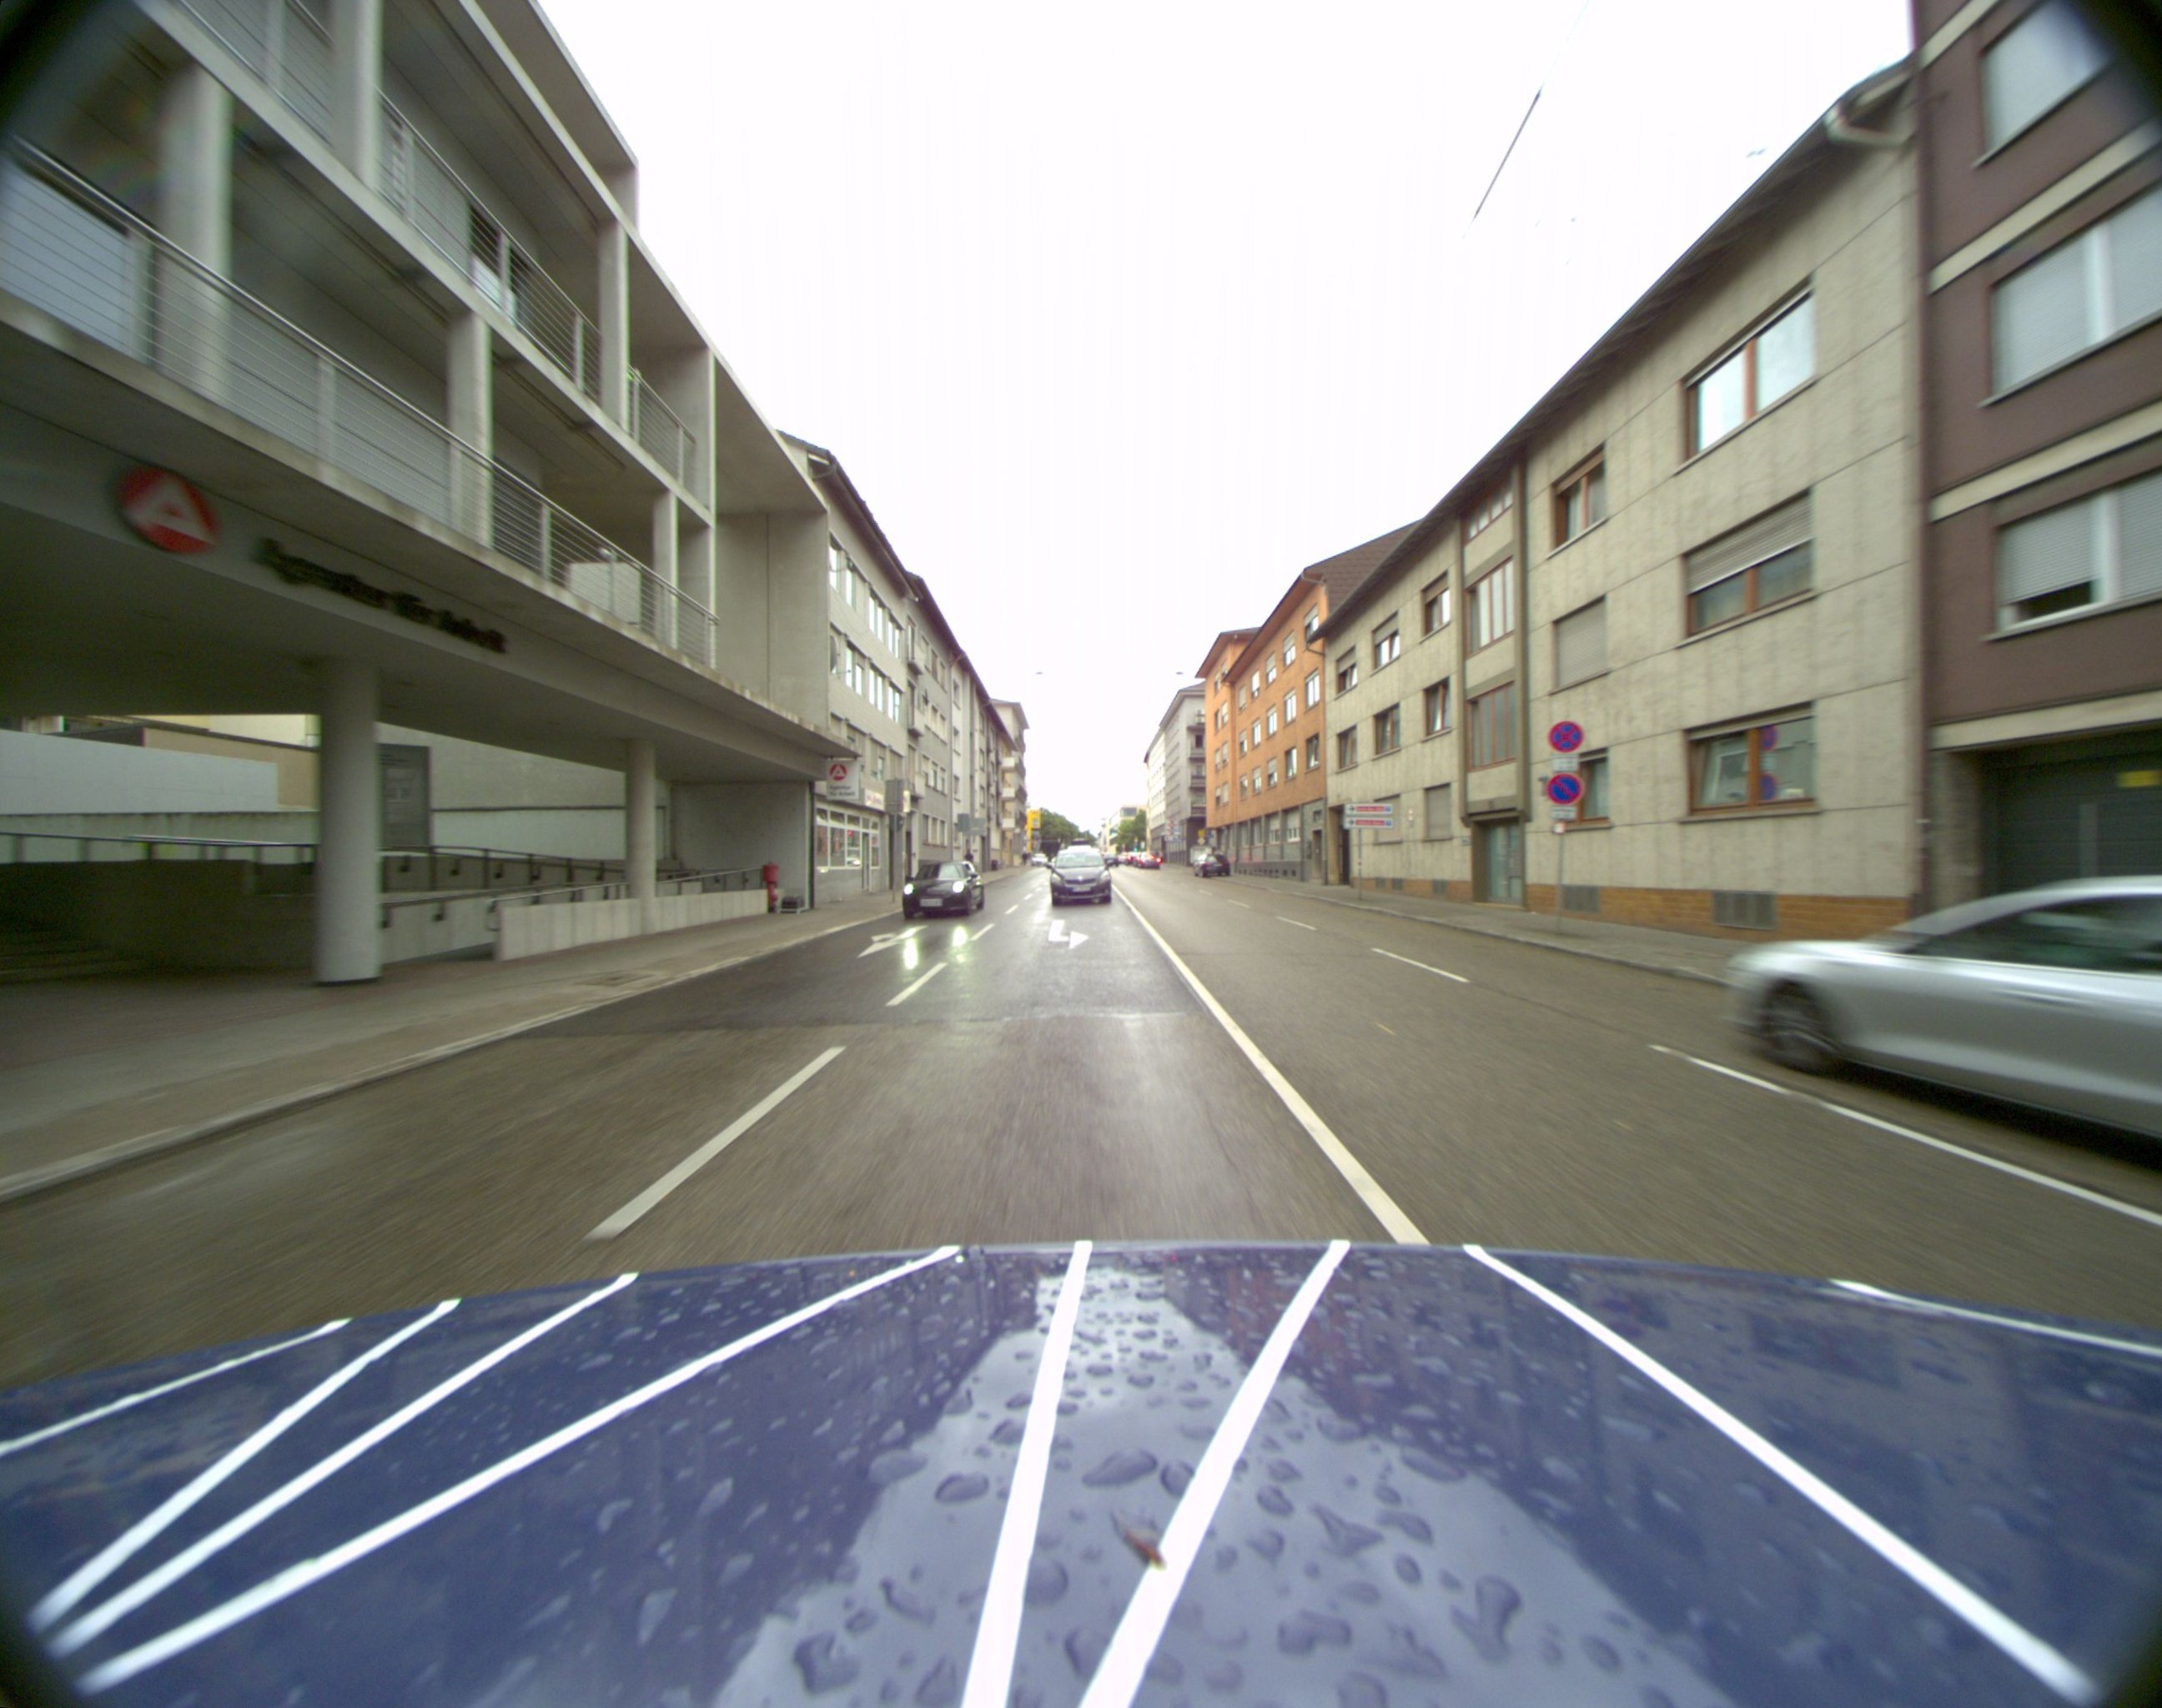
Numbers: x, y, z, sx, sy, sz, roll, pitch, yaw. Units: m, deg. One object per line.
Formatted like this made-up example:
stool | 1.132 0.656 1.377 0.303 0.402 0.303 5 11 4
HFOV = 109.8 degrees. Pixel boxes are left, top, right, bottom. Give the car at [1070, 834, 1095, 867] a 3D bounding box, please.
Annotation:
car | 0.128 -0.364 68.789 2.033 2.732 4.368 -3 1 1

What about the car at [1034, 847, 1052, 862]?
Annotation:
car | -4.575 0.046 91.052 1.856 1.663 4.215 -4 1 -4

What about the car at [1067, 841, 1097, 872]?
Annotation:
car | 0.073 0.117 51.749 1.856 1.882 4.217 -3 1 1

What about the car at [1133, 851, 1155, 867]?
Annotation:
car | 6.270 0.497 76.177 1.727 1.464 4.373 1 0 -1

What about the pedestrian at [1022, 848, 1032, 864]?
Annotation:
pedestrian | -6.113 0.214 85.357 1.119 1.741 0.961 -1 1 -5

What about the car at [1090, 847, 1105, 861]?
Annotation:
car | 2.011 0.017 93.590 1.699 1.572 4.216 1 2 0

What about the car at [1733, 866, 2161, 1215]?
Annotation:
car | 5.883 0.907 3.602 1.777 1.531 4.357 1 1 0

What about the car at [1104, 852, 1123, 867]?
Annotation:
car | 3.285 0.525 78.009 1.603 1.362 4.361 2 1 -1

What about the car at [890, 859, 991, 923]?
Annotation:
car | -3.734 0.925 20.988 1.856 1.369 4.217 -3 1 1

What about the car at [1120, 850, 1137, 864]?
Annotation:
car | 6.041 0.340 96.784 1.856 1.651 4.610 -3 1 1

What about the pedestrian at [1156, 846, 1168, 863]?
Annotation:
pedestrian | 9.969 0.041 93.733 1.309 2.002 1.258 -3 2 1

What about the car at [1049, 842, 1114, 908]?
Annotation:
car | 0.054 0.553 23.278 1.699 1.712 4.217 -3 1 1

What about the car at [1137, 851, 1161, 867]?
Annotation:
car | 6.242 0.442 70.042 1.699 1.362 4.365 2 1 -1

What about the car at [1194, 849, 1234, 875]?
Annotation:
car | 8.443 0.472 48.579 1.799 1.466 4.217 -3 1 1

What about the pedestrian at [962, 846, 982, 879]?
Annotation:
pedestrian | -6.217 0.476 43.328 0.871 1.855 1.119 3 2 1

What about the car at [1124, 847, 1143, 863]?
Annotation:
car | 5.769 0.096 83.800 1.699 1.531 4.435 3 1 0
